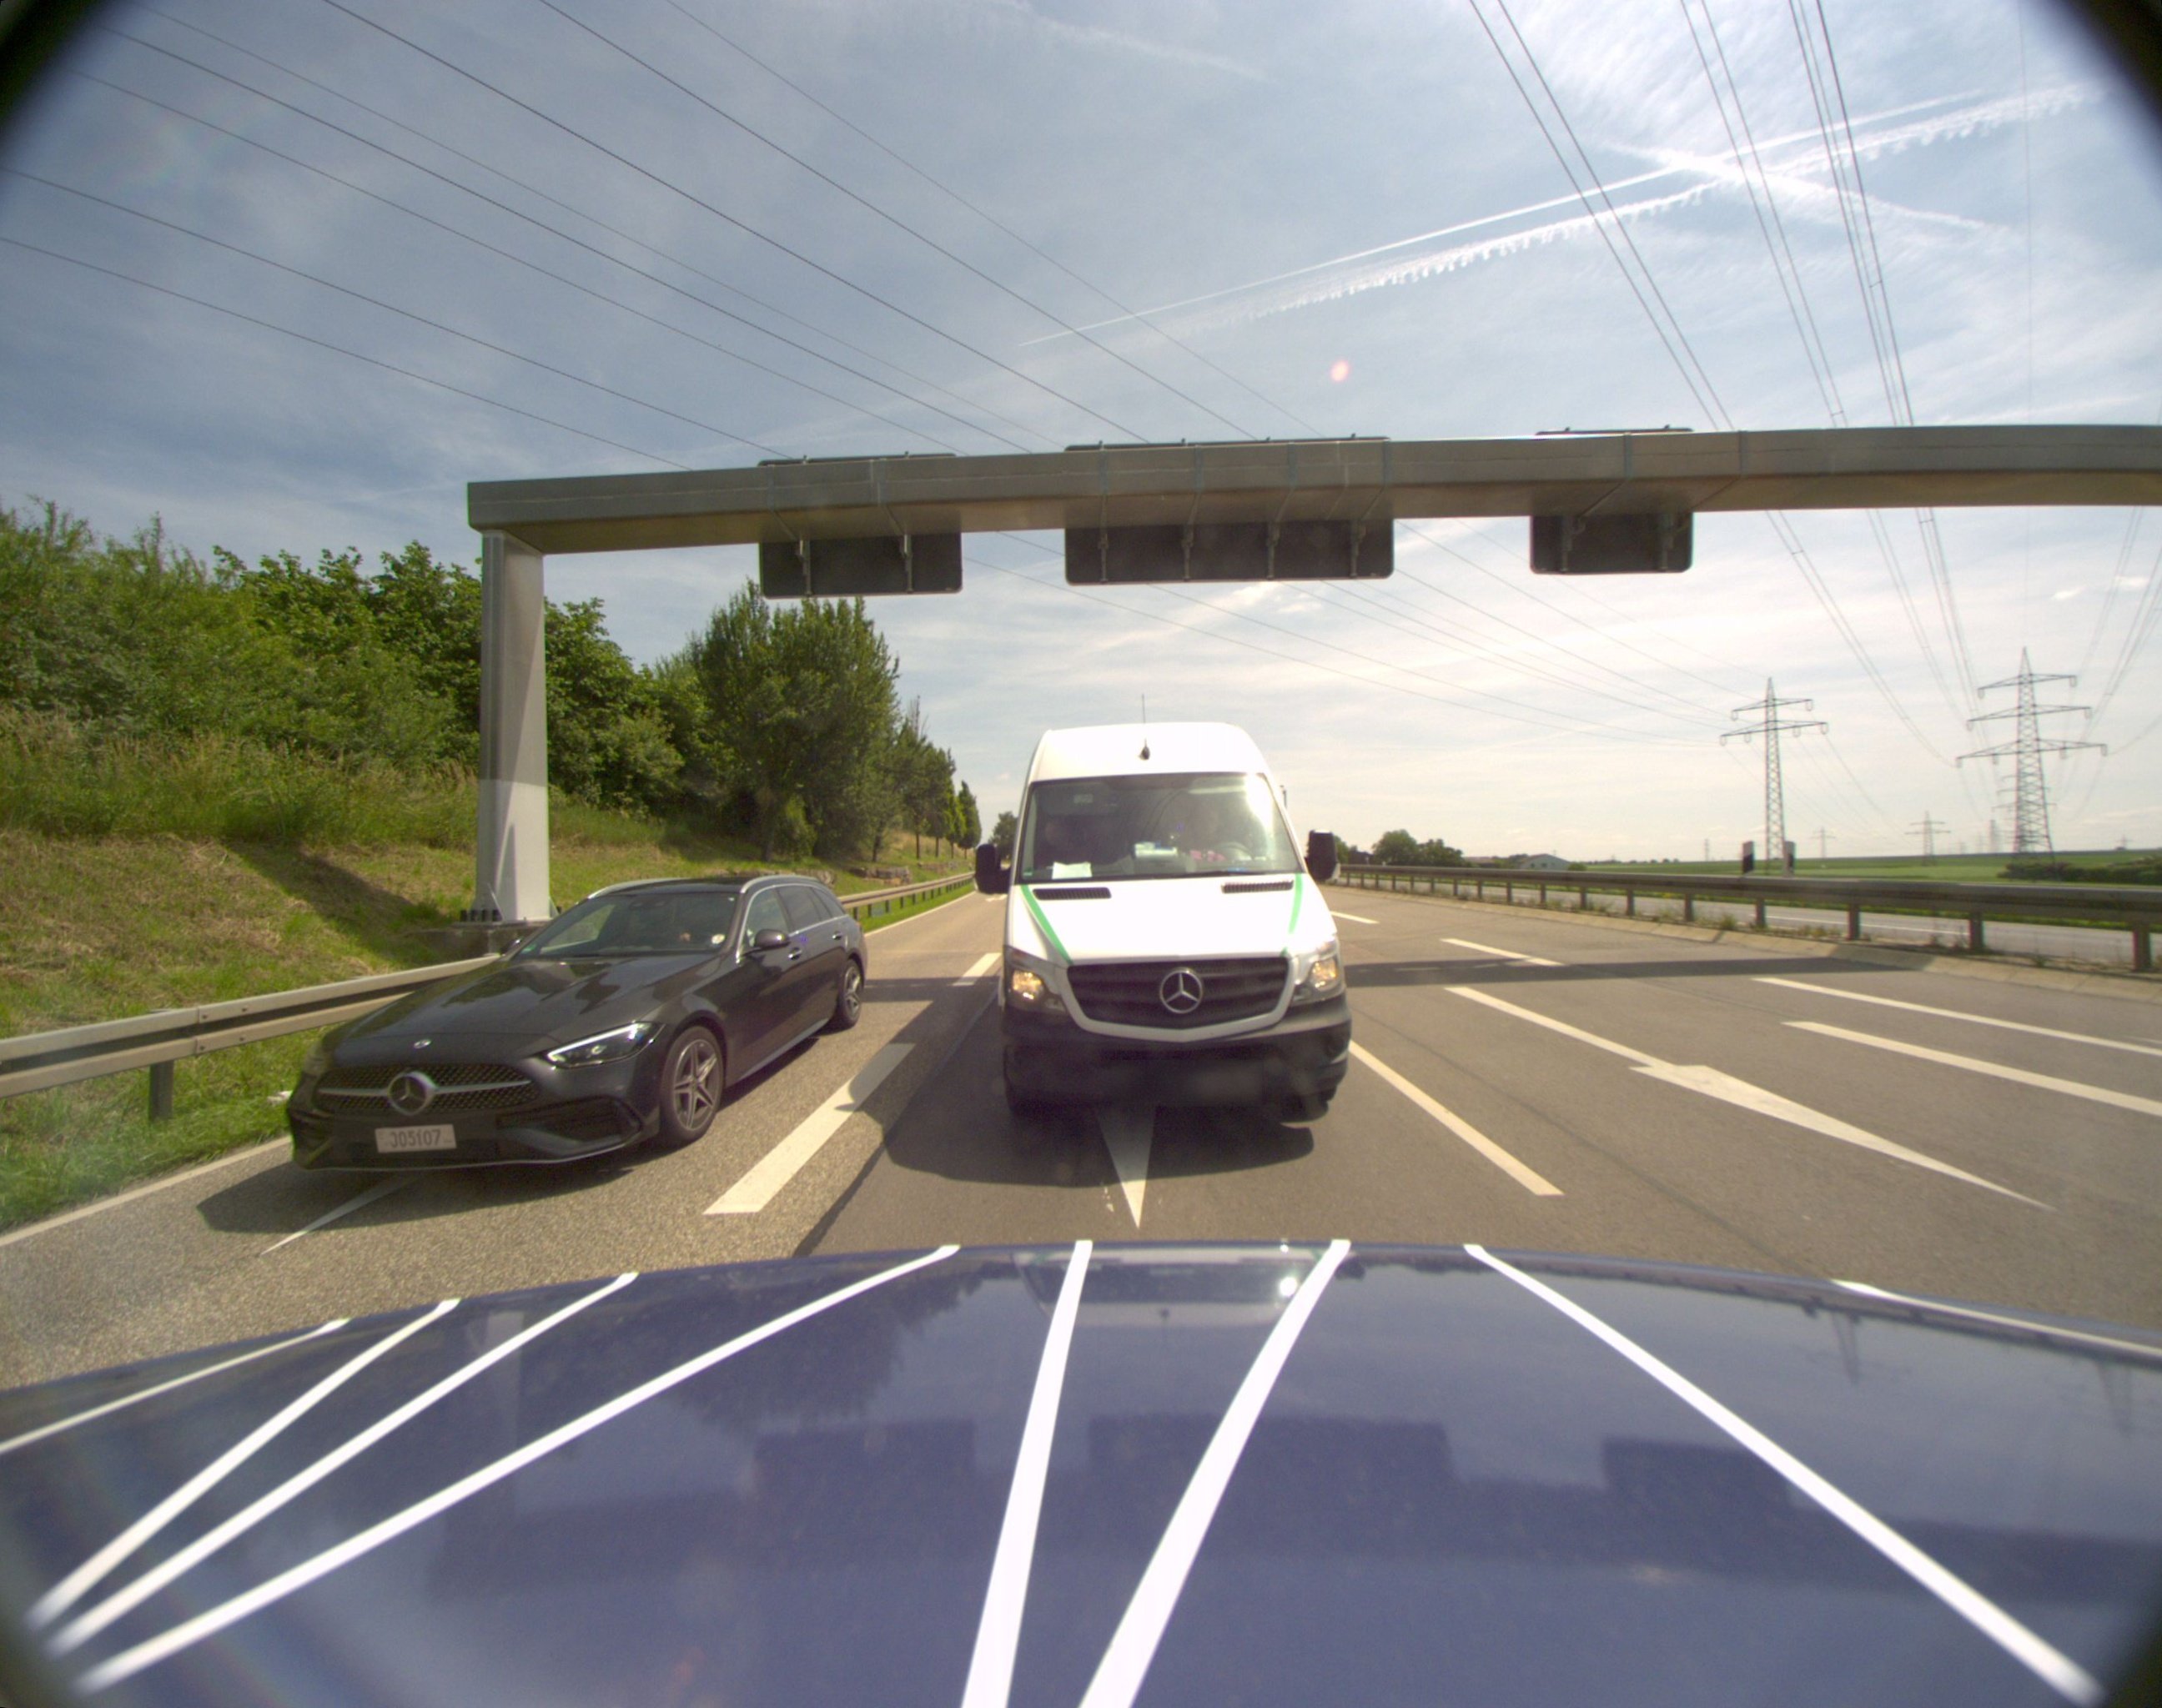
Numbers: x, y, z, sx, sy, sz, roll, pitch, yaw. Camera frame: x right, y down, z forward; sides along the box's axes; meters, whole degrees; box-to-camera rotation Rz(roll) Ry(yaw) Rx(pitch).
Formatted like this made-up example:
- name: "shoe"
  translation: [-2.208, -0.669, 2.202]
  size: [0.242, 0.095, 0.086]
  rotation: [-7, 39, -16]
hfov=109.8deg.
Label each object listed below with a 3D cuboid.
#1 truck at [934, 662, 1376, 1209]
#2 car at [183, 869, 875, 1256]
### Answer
- name: "truck"
  translation: [0.442, 0.389, 6.124]
  size: [1.998, 2.518, 5.105]
  rotation: [-2, 0, 2]
- name: "car"
  translation: [-3.011, 0.969, 5.498]
  size: [1.750, 1.523, 4.298]
  rotation: [-2, 1, 1]
